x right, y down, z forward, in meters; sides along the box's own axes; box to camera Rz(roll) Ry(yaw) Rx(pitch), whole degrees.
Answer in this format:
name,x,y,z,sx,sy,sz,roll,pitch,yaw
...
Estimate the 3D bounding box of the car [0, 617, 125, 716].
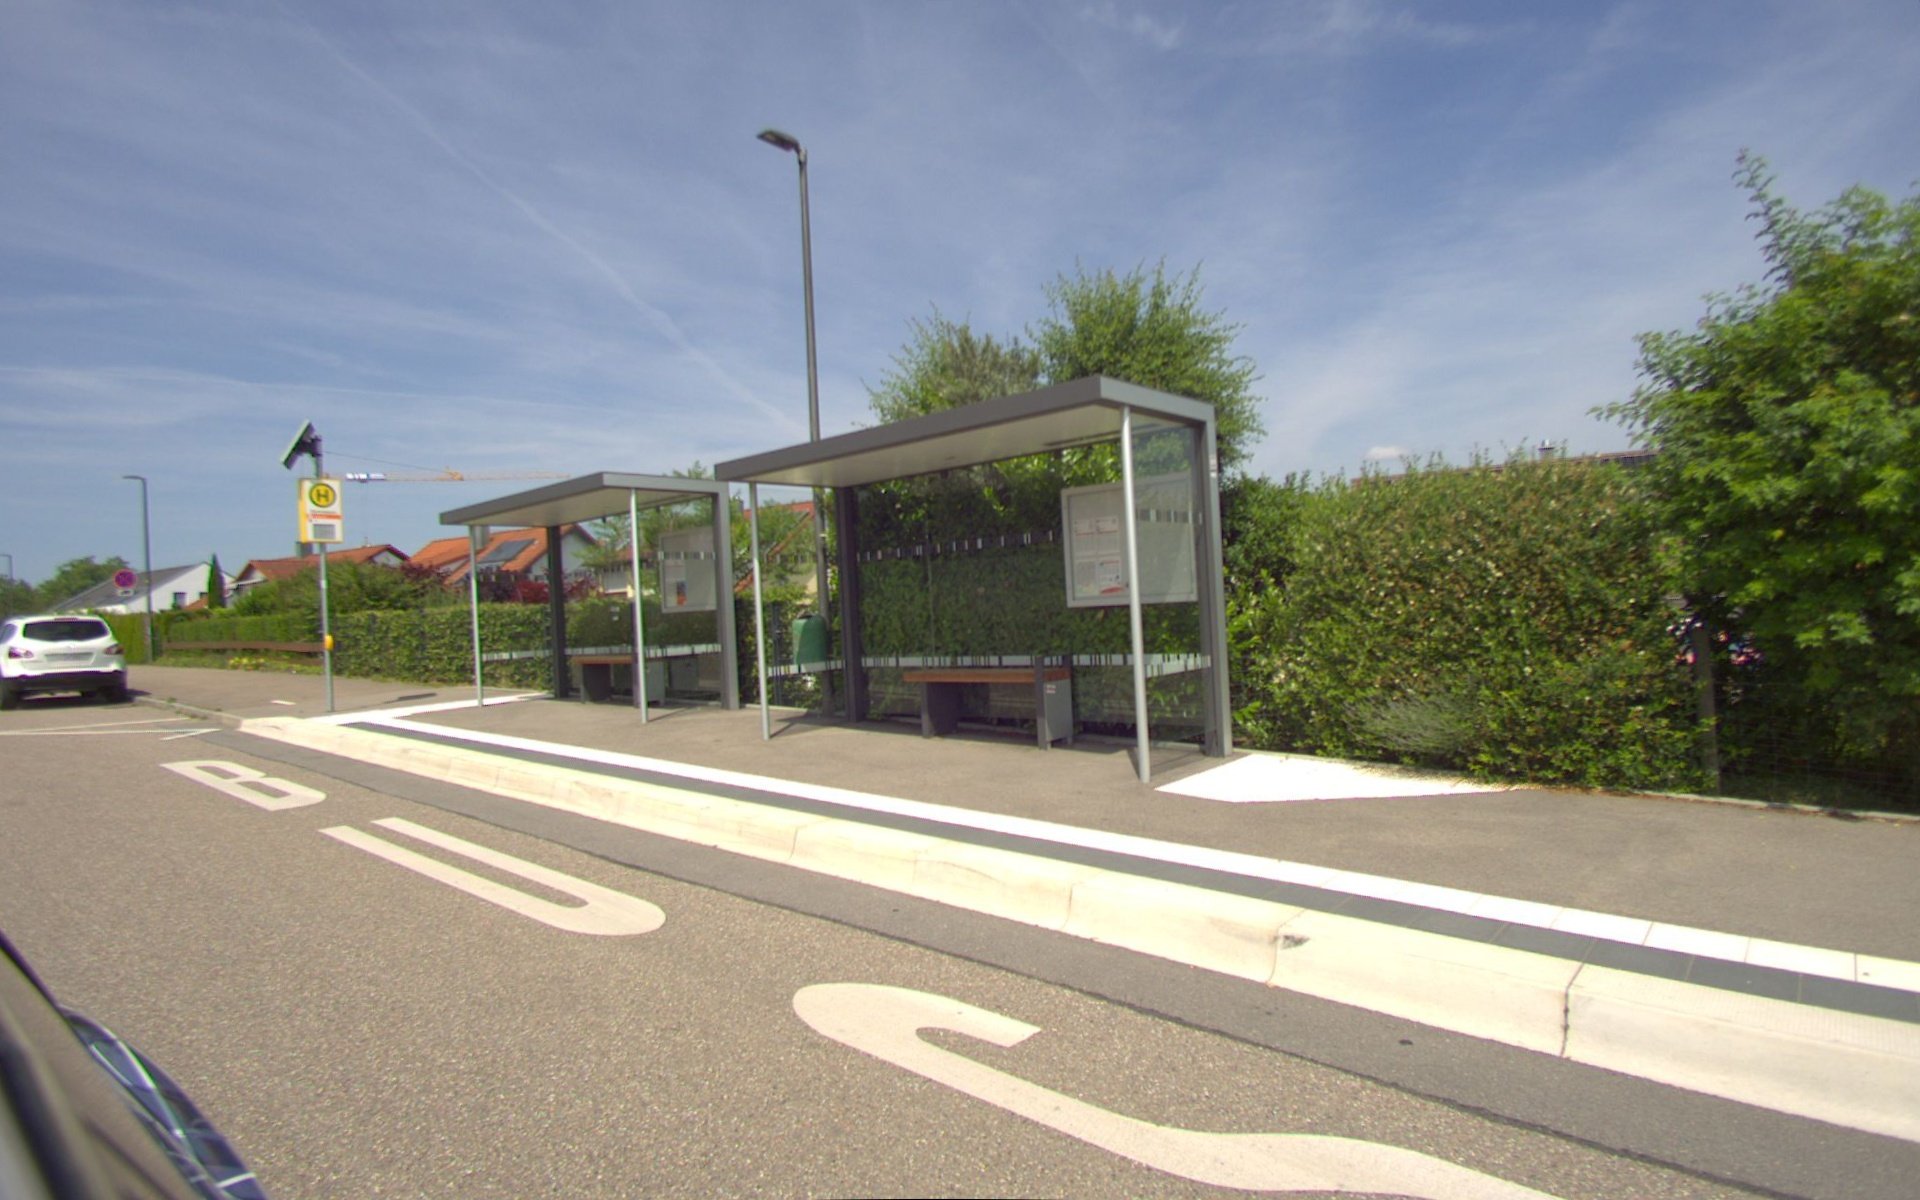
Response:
name,x,y,z,sx,sy,sz,roll,pitch,yaw
car,-17.334,1.187,19.114,4.349,1.645,1.716,-2,-1,41
